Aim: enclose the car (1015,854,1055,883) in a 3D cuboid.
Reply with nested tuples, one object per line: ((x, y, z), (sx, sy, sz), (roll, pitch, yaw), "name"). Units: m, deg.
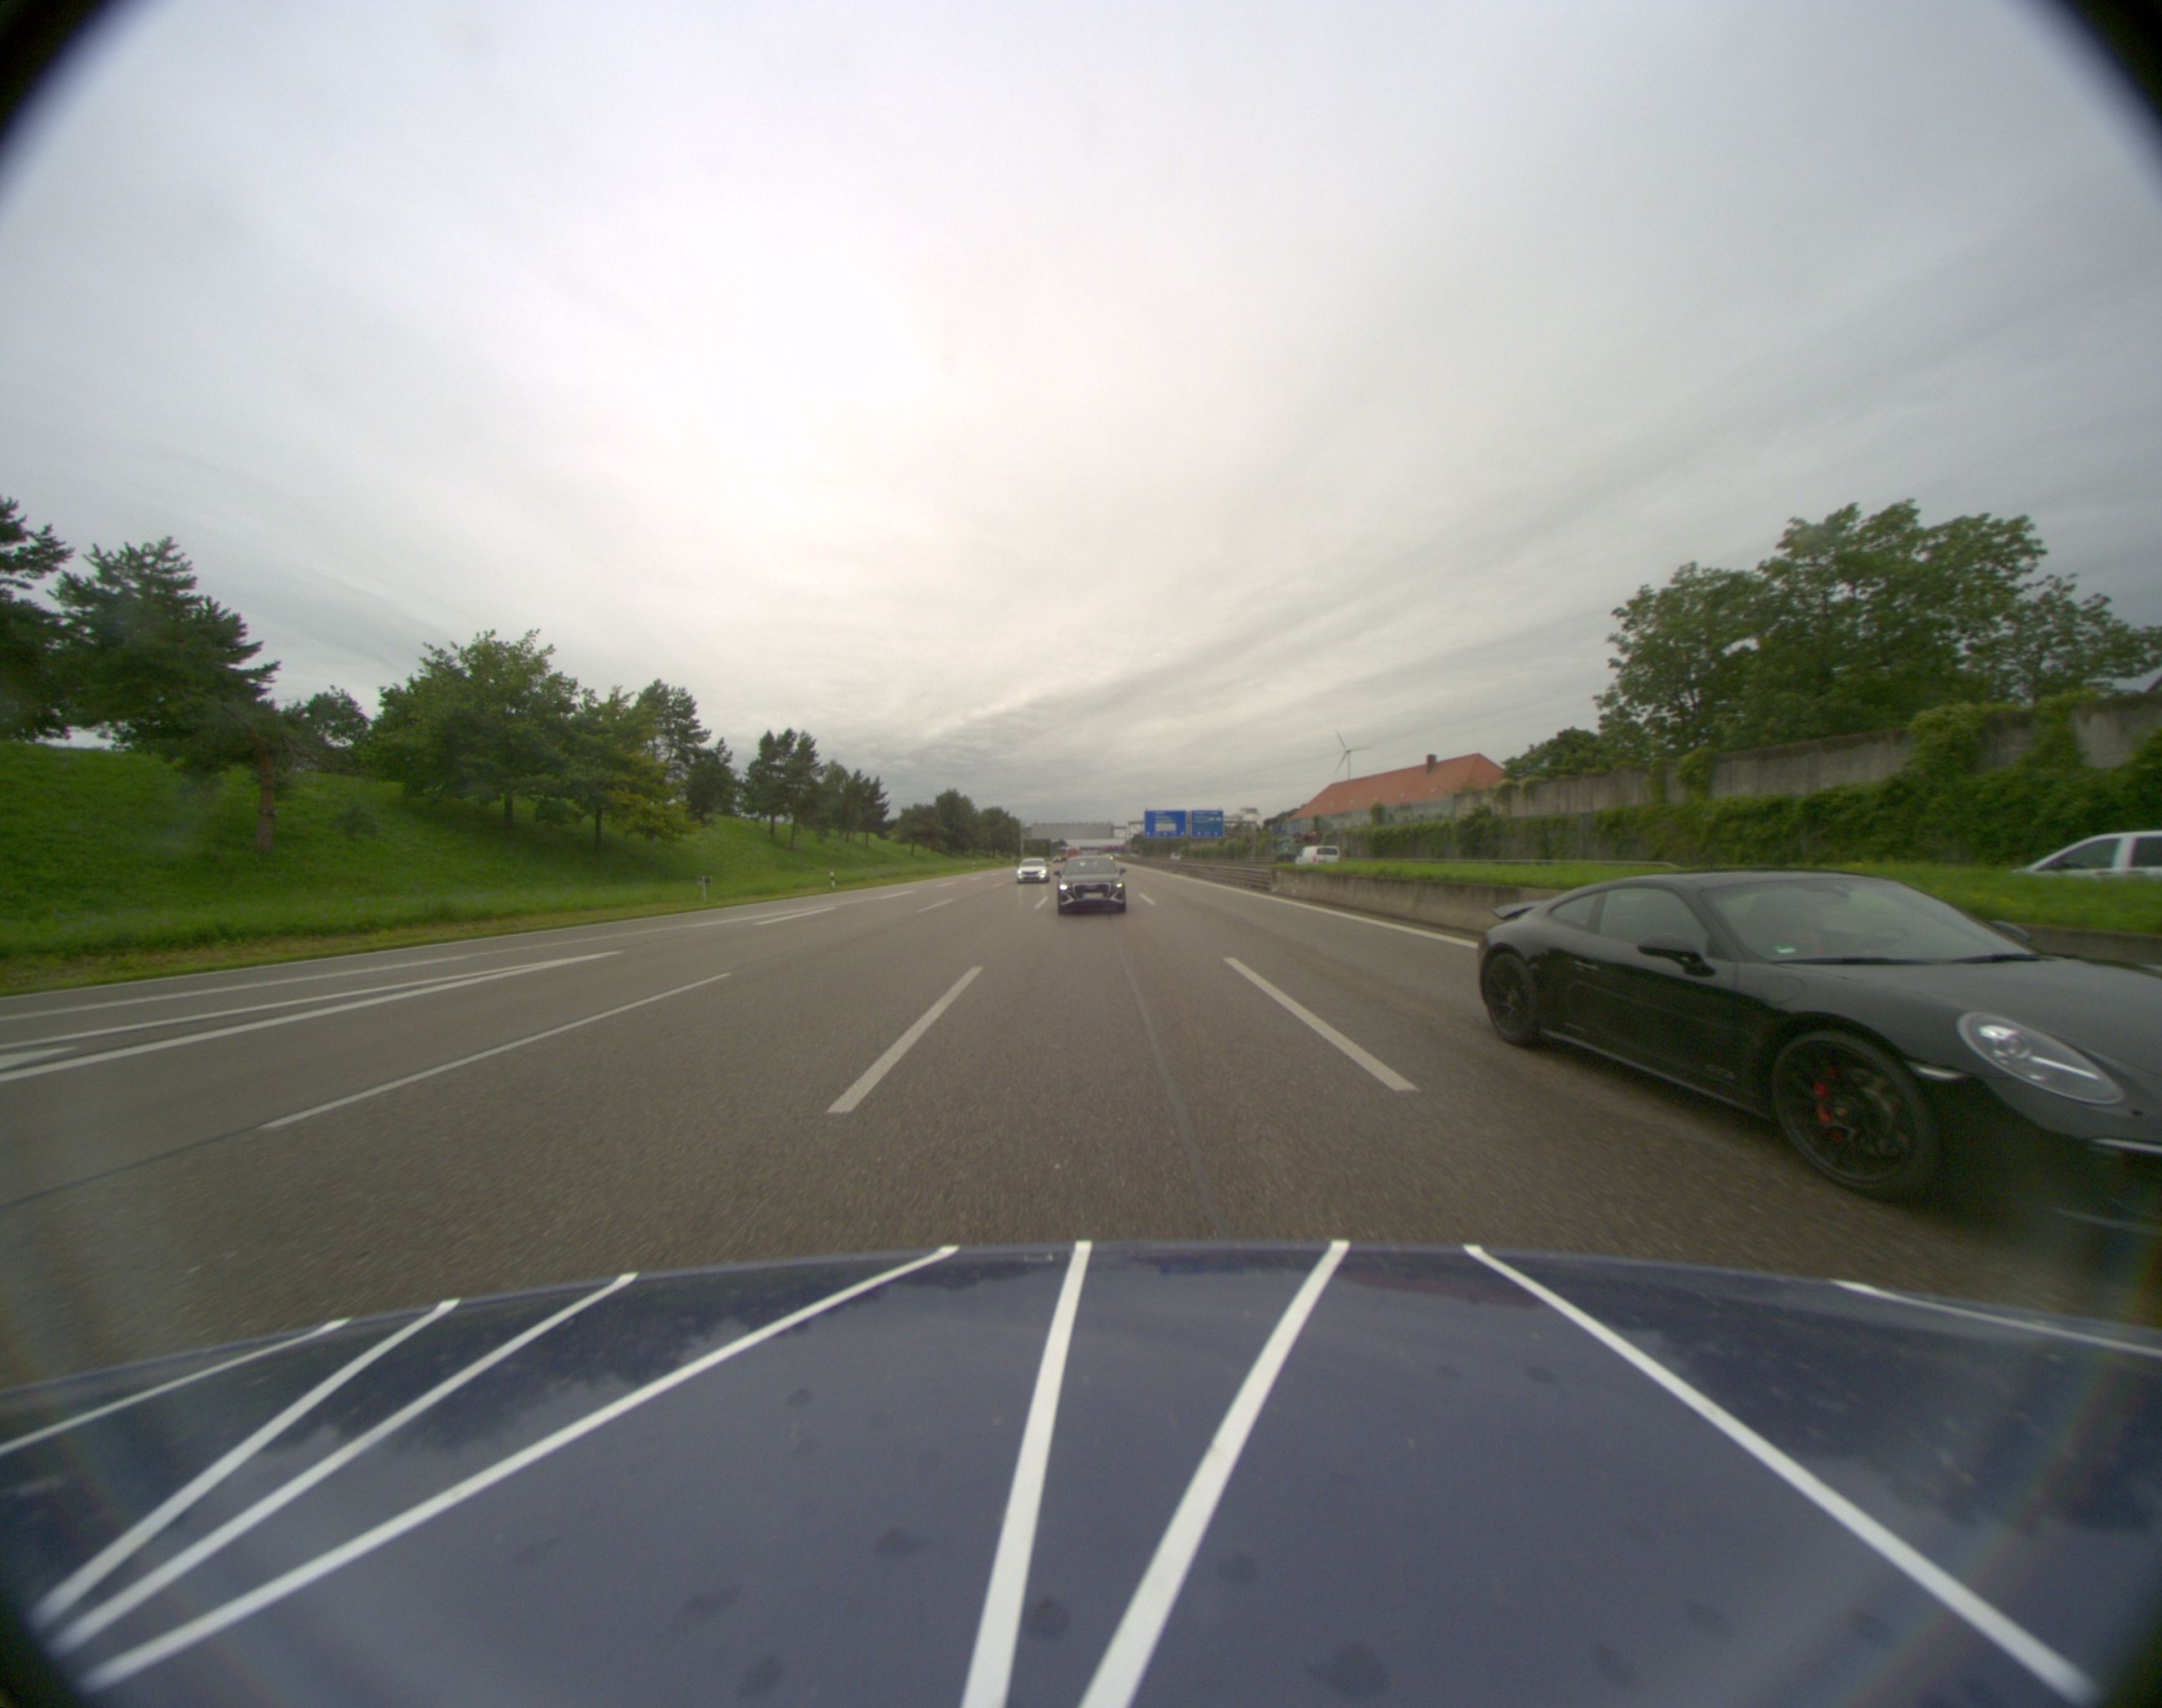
((-2.729, 0.853, 45.939), (1.998, 1.555, 4.910), (-2, 0, 1), "car")

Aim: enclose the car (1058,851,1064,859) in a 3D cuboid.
((-4.596, 0.264, 175.168), (1.346, 1.732, 3.106), (-2, 1, 1), "car")

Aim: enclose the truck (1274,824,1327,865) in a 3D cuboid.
((21.764, -0.967, 75.784), (2.698, 3.755, 8.335), (-2, 1, 0), "truck")

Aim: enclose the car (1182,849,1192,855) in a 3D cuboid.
((28.432, -0.443, 204.081), (1.960, 1.543, 4.521), (-2, 1, 2), "car")

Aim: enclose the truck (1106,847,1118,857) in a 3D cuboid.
((6.003, -0.409, 147.470), (1.998, 2.002, 4.000), (-2, 0, 1), "truck")

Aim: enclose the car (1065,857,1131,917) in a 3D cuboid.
((0.446, 0.839, 20.814), (1.616, 1.403, 3.326), (-2, 1, 0), "car")

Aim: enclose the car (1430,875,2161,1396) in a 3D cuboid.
((3.922, 0.877, 4.220), (1.655, 1.264, 4.924), (-2, 1, 0), "car")

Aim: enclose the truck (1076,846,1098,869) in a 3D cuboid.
((0.594, 0.302, 73.216), (1.894, 2.002, 6.261), (-2, 1, 1), "truck")

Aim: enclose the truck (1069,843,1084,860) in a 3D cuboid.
((-0.936, -0.624, 168.460), (2.836, 3.634, 10.670), (-2, 1, 1), "truck")

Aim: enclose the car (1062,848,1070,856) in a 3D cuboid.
((-4.208, -0.584, 210.581), (1.998, 2.002, 4.000), (-2, 1, 2), "car")

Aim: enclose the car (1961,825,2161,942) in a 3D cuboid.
((19.764, 0.488, 13.568), (1.999, 2.002, 5.226), (-2, 1, 0), "car")

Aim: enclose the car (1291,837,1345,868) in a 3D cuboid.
((16.248, -0.107, 52.447), (2.085, 2.002, 5.194), (-2, 0, 0), "car")

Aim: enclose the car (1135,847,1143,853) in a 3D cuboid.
((16.468, -1.141, 216.941), (1.792, 1.741, 4.535), (-1, 1, -1), "car")

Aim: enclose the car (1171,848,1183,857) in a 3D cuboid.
((21.669, -0.356, 171.753), (1.998, 2.002, 4.956), (-2, 1, 0), "car")
